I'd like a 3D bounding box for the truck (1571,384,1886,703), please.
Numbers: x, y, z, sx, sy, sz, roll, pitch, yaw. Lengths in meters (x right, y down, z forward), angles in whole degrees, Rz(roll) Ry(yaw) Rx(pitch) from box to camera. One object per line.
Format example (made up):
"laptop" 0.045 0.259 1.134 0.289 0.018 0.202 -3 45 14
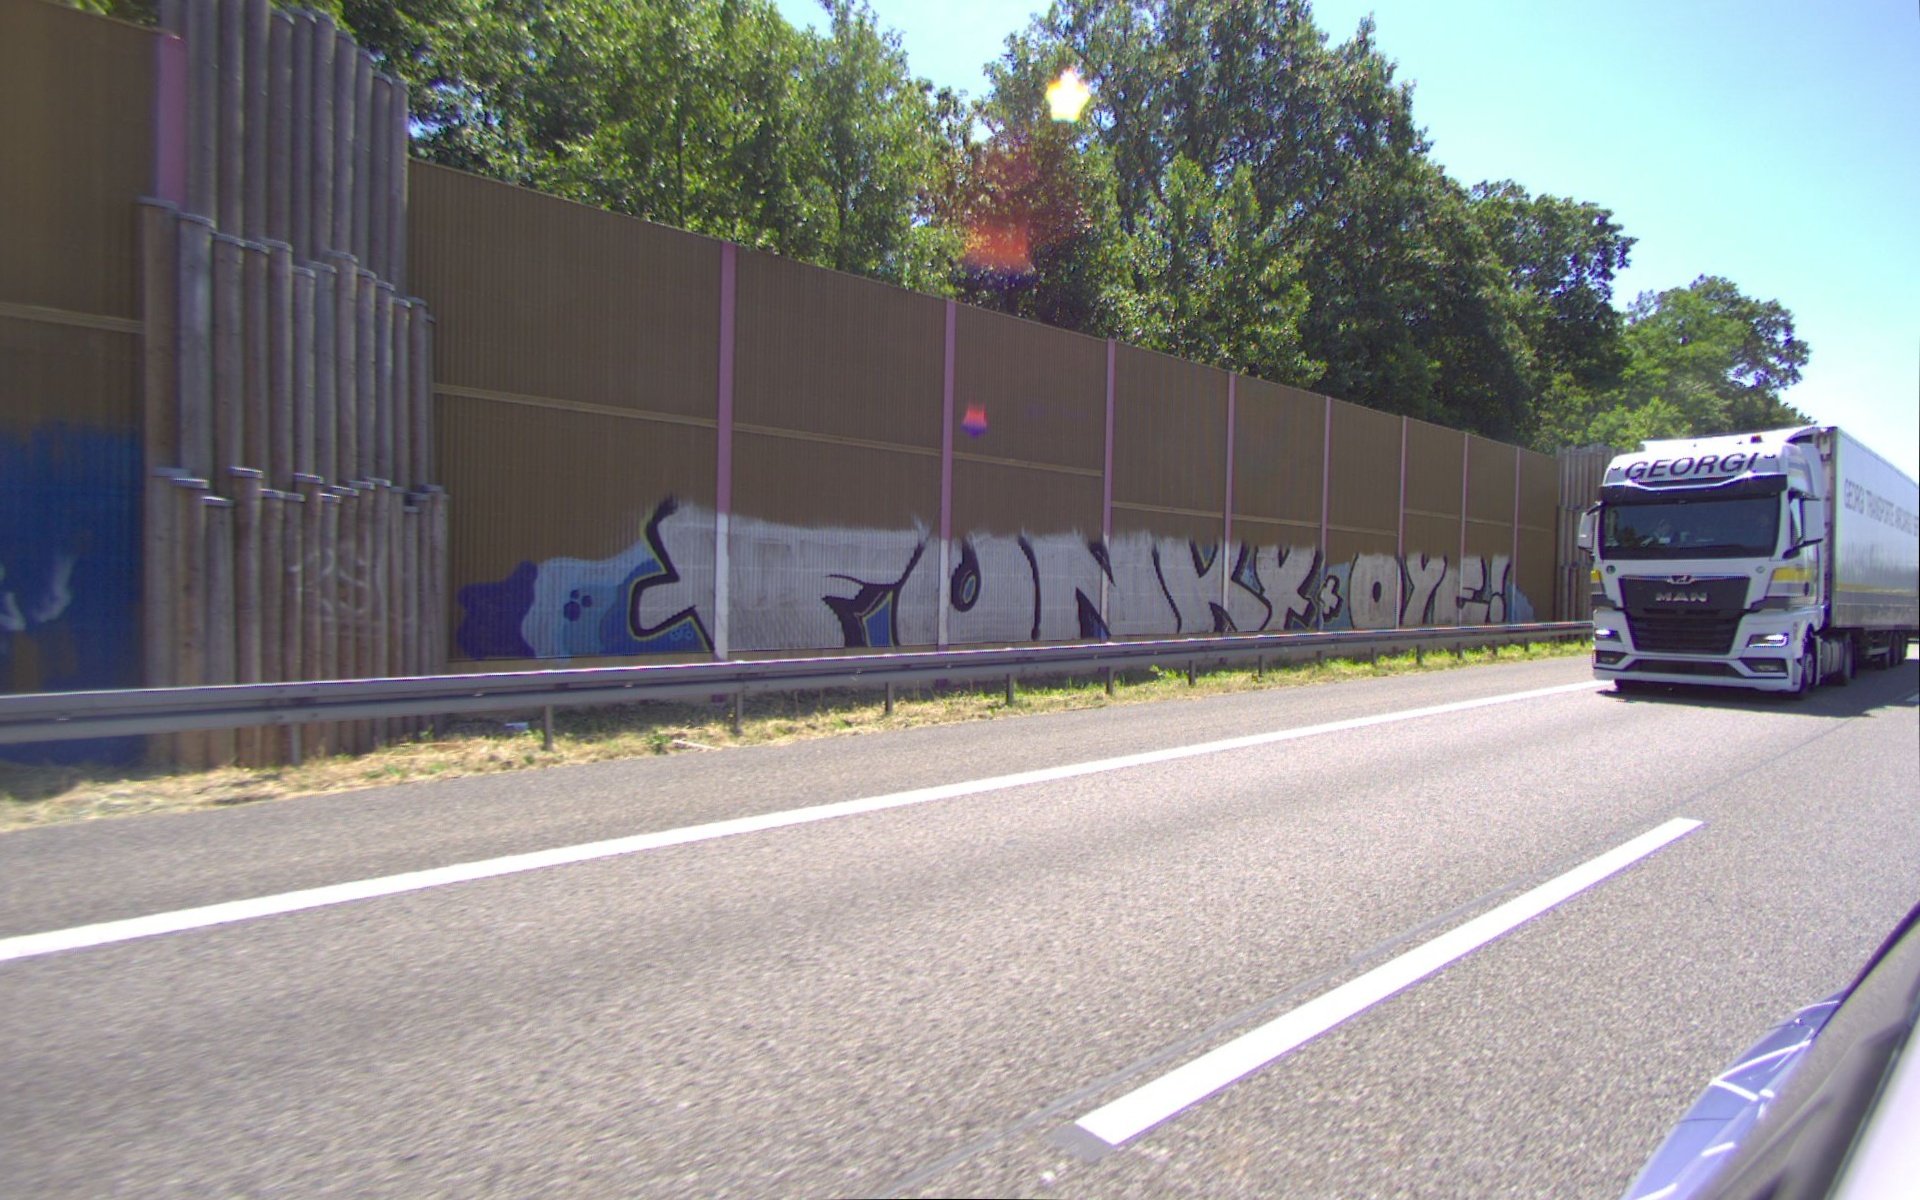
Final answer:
"truck" 12.303 -0.800 16.097 5.161 4.176 3.008 -1 1 -41

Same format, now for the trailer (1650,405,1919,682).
"trailer" 18.295 -0.961 21.325 13.184 4.343 2.998 -1 0 -41
